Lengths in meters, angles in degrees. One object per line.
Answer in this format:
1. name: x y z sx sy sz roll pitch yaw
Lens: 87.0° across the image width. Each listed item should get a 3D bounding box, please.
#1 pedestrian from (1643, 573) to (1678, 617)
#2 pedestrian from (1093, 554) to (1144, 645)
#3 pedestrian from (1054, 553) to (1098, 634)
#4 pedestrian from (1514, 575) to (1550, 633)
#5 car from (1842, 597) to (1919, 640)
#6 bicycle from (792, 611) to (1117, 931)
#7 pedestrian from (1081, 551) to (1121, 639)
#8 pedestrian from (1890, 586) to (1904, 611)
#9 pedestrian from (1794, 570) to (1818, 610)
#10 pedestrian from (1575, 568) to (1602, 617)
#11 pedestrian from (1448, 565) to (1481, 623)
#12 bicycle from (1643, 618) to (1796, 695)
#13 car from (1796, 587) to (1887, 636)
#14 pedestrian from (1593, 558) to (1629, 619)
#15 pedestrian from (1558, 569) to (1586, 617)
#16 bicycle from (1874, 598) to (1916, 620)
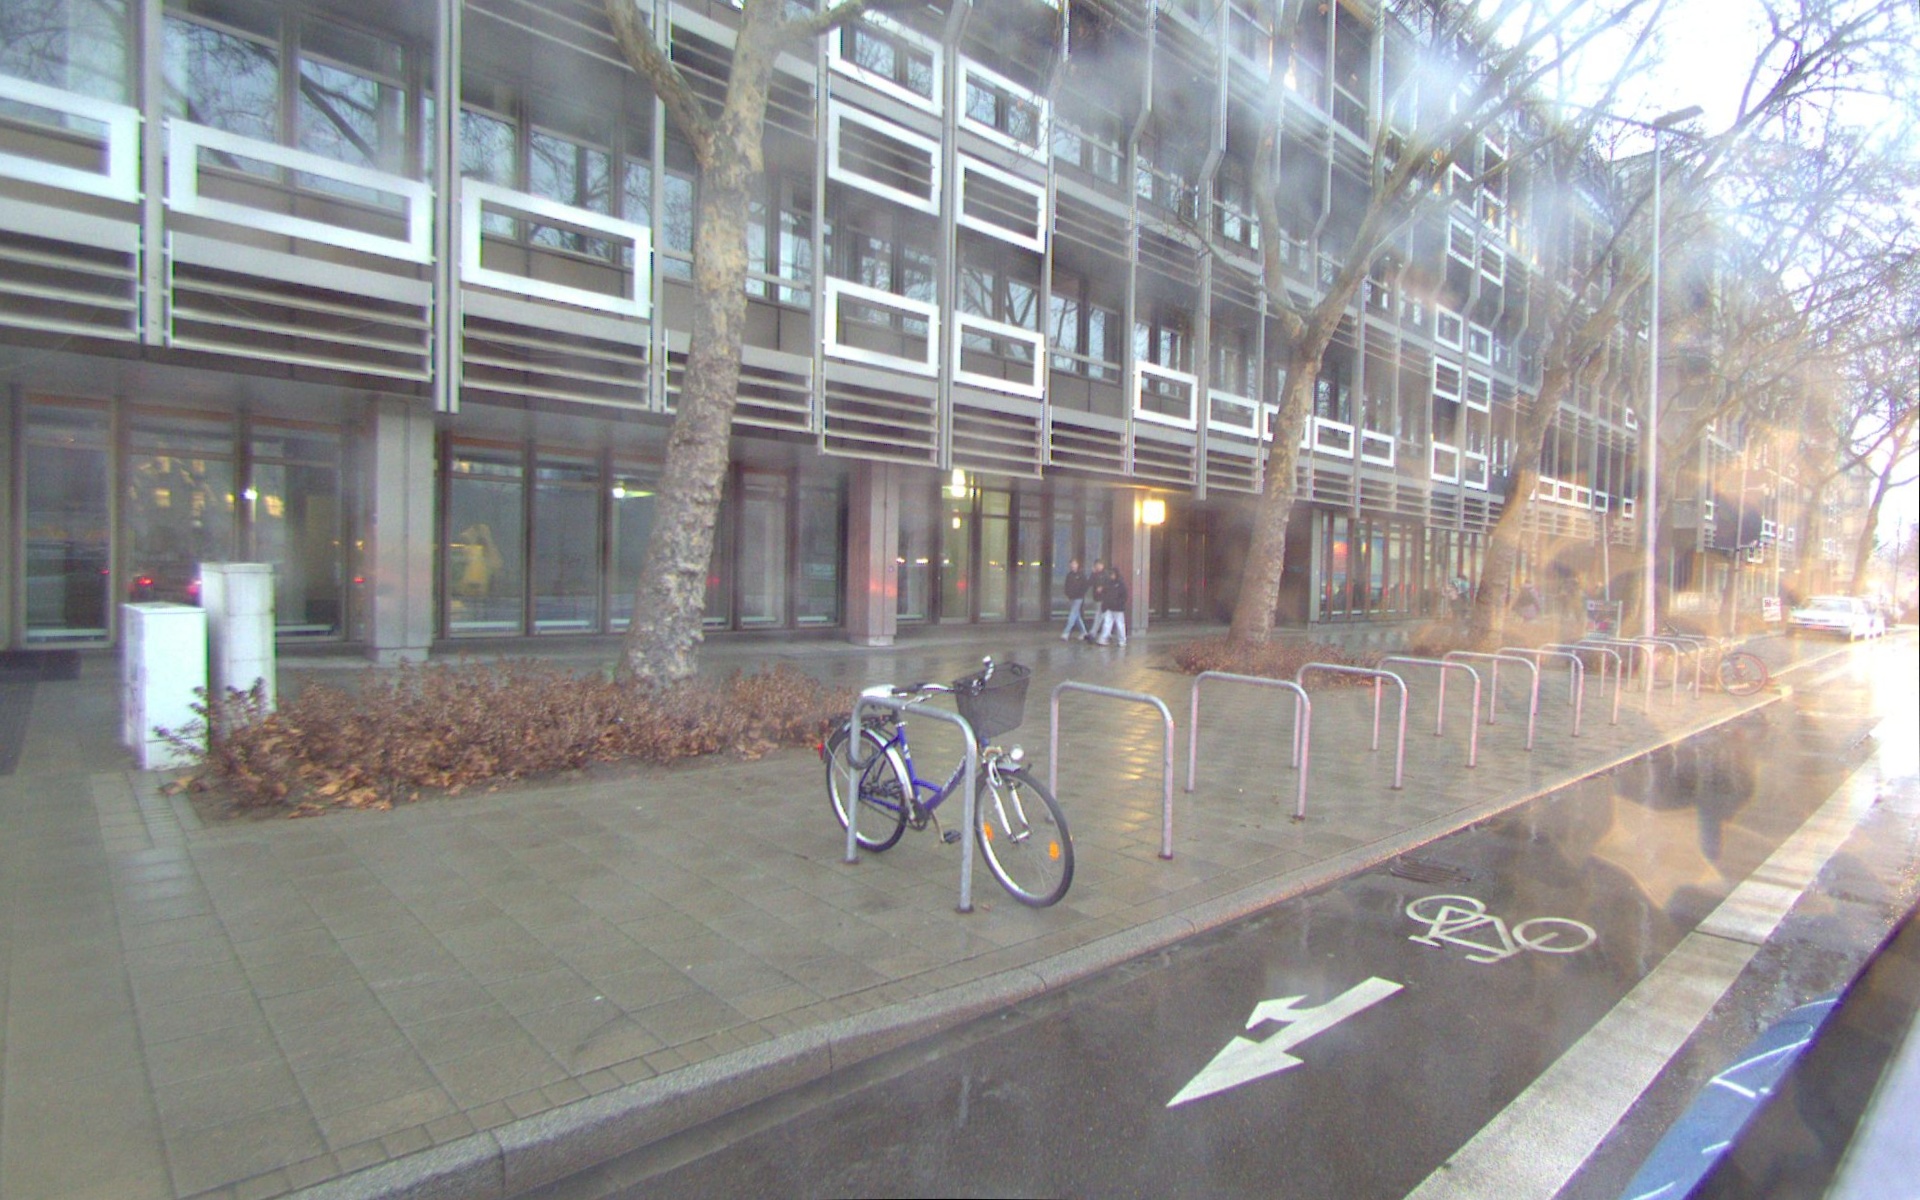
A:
1. pedestrian: 25.172 -0.201 36.368 0.824 1.543 0.865 0 2 -44
2. pedestrian: 3.018 -0.020 19.309 0.858 1.689 0.501 0 2 -41
3. pedestrian: 2.325 -0.134 20.280 0.733 1.583 0.484 0 1 -42
4. pedestrian: 15.750 0.110 27.860 0.604 1.563 0.649 0 1 -40
5. car: 35.371 0.668 38.661 3.930 1.504 1.997 -1 1 -41
6. bicycle: -0.106 0.701 4.847 0.428 1.162 1.752 0 4 -44
7. pedestrian: 2.739 -0.102 19.698 0.701 1.689 0.379 0 1 -41
8. pedestrian: 77.325 -0.094 83.516 0.758 2.039 0.837 -1 0 -42
9. pedestrian: 44.705 -0.531 53.477 1.007 2.039 0.790 0 1 -41
10. pedestrian: 22.615 -0.270 36.425 0.653 1.739 0.836 1 1 24
11. pedestrian: 14.996 -0.178 30.090 0.767 1.677 0.617 0 1 -41
12. bicycle: 11.659 0.844 15.576 0.607 0.986 1.789 0 3 -45
13. car: 29.431 0.331 33.764 3.859 1.449 1.609 0 5 -39
14. pedestrian: 22.346 -0.402 34.737 0.723 2.039 0.821 0 1 -43
15. pedestrian: 21.849 -0.246 36.140 0.633 1.675 0.838 1 1 18
16. bicycle: 47.008 0.443 50.884 1.518 1.049 0.462 0 1 42
